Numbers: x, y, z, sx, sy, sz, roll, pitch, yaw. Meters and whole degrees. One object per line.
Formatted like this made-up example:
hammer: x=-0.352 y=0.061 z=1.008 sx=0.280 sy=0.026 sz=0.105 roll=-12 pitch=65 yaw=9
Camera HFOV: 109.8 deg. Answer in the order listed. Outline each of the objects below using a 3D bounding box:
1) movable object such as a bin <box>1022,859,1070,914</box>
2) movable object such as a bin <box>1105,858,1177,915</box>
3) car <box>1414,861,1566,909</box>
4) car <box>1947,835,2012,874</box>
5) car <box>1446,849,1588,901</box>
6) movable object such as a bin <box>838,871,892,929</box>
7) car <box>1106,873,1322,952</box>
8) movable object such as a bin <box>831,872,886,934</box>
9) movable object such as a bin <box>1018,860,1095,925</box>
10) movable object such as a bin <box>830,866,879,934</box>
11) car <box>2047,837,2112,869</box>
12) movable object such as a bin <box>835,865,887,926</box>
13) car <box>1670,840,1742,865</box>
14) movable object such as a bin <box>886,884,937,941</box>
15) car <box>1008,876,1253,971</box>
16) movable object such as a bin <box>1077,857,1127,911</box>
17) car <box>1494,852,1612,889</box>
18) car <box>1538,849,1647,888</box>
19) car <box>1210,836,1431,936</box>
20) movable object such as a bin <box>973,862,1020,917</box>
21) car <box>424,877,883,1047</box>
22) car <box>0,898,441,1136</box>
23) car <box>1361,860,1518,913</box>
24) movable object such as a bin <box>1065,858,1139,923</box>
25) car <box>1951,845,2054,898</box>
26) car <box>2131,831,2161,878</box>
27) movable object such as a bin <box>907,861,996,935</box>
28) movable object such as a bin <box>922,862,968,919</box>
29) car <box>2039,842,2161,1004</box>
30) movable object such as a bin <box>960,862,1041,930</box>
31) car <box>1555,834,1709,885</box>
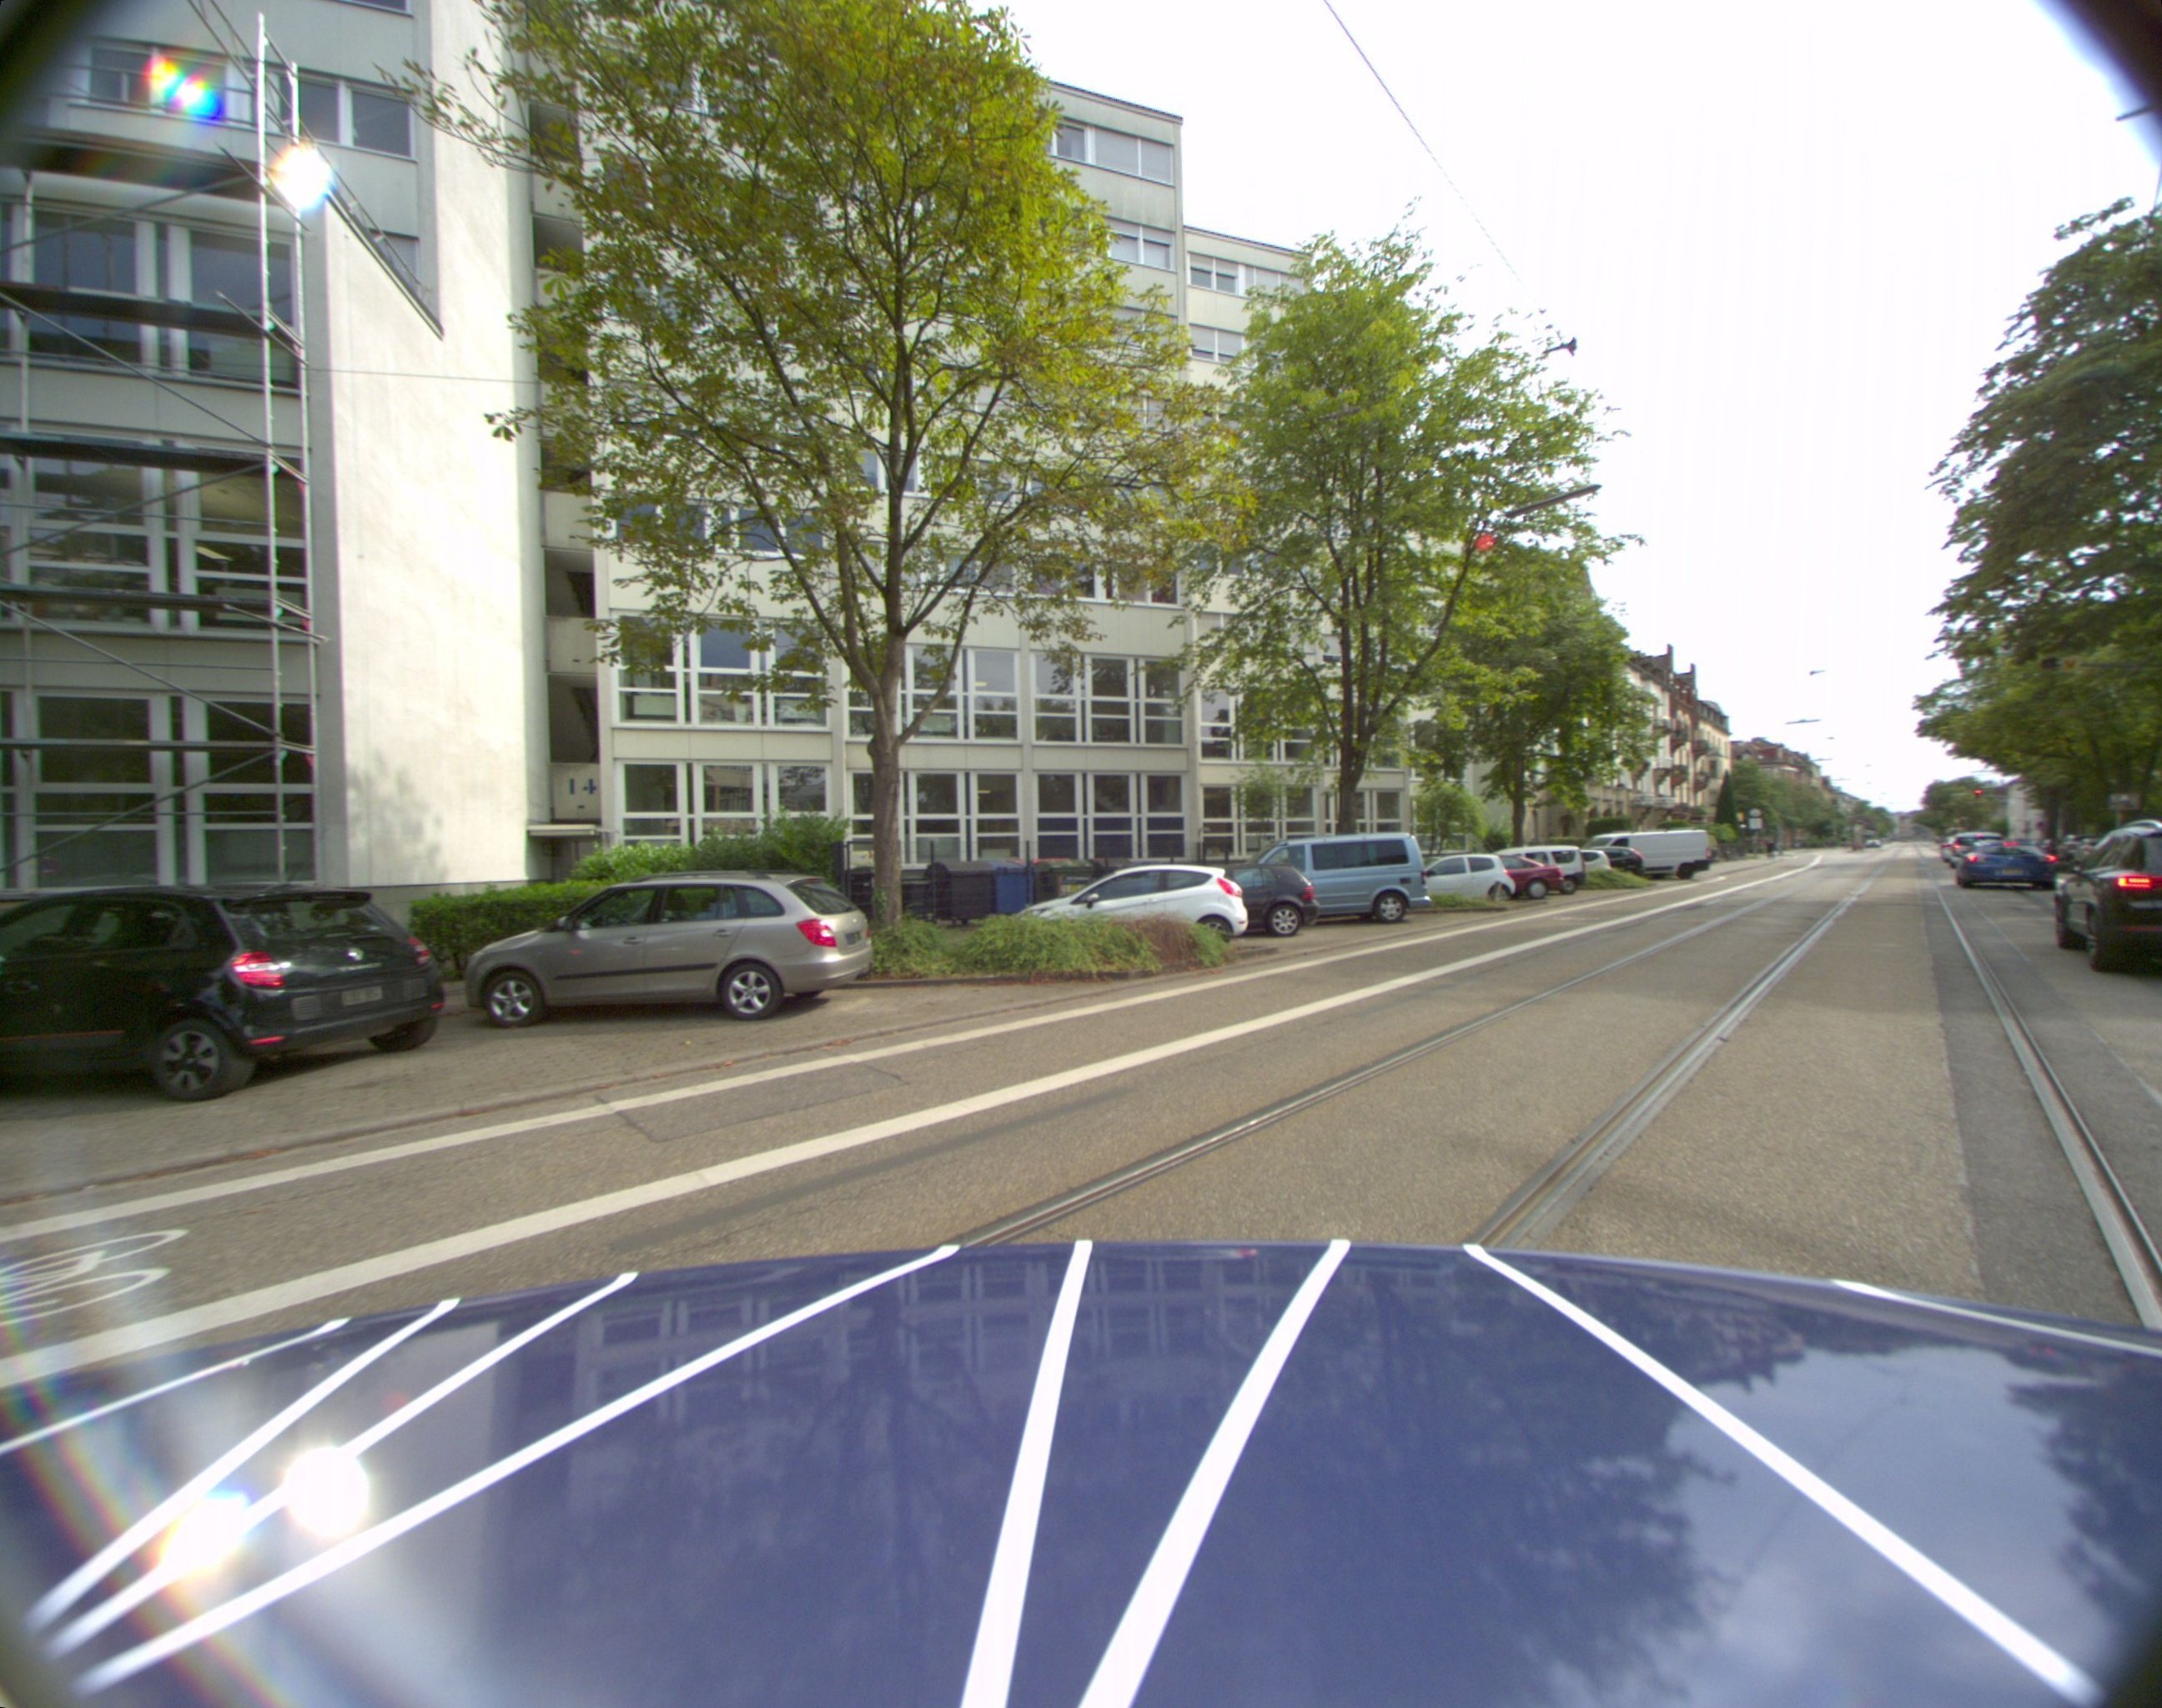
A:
movable object such as a bin: x=-1.059 y=0.948 z=22.629 sx=1.175 sy=1.559 sz=1.178 roll=-1 pitch=0 yaw=-15
movable object such as a bin: x=1.639 y=0.865 z=20.855 sx=1.403 sy=1.450 sz=1.332 roll=-1 pitch=0 yaw=-39
car: x=12.683 y=0.946 z=23.766 sx=3.766 sy=1.331 sz=1.815 roll=-1 pitch=1 yaw=5
car: x=45.057 y=0.017 z=38.170 sx=4.387 sy=1.873 sz=1.733 roll=-1 pitch=0 yaw=-45
car: x=14.736 y=0.700 z=25.844 sx=3.766 sy=1.609 sz=1.815 roll=-1 pitch=1 yaw=5
movable object such as a bin: x=-5.522 y=1.141 z=19.379 sx=1.181 sy=1.362 sz=1.173 roll=-1 pitch=0 yaw=-22
car: x=2.509 y=1.123 z=15.130 sx=3.969 sy=1.378 sz=1.815 roll=-1 pitch=-1 yaw=1
movable object such as a bin: x=-5.300 y=1.132 z=18.038 sx=1.120 sy=1.383 sz=1.061 roll=-1 pitch=0 yaw=-22
movable object such as a bin: x=-0.613 y=0.927 z=18.819 sx=1.356 sy=1.493 sz=1.332 roll=-1 pitch=0 yaw=-39
movable object such as a bin: x=-4.999 y=0.986 z=16.740 sx=0.913 sy=1.398 sz=1.022 roll=-1 pitch=0 yaw=-22
car: x=53.401 y=-0.046 z=40.683 sx=3.914 sy=1.624 sz=1.655 roll=-1 pitch=0 yaw=-44
movable object such as a bin: x=-5.992 y=1.104 z=20.657 sx=1.181 sy=1.559 sz=1.173 roll=-1 pitch=0 yaw=-22
car: x=45.628 y=-0.108 z=55.553 sx=3.637 sy=1.666 sz=1.770 roll=-1 pitch=1 yaw=20
movable object such as a bin: x=-3.510 y=1.197 z=15.727 sx=0.744 sy=1.099 sz=0.784 roll=-1 pitch=0 yaw=-38
car: x=0.797 y=1.129 z=12.863 sx=3.859 sy=1.385 sz=1.634 roll=-1 pitch=0 yaw=0
movable object such as a bin: x=0.623 y=0.893 z=23.045 sx=1.175 sy=1.559 sz=1.178 roll=-1 pitch=0 yaw=-15
car: x=18.970 y=0.641 z=30.640 sx=3.642 sy=1.322 sz=1.768 roll=-1 pitch=1 yaw=1
car: x=22.257 y=0.628 z=33.203 sx=3.637 sy=1.580 sz=1.770 roll=-1 pitch=1 yaw=20
car: x=5.276 y=0.689 z=17.201 sx=4.342 sy=2.052 sz=2.000 roll=-1 pitch=0 yaw=1
movable object such as a bin: x=-2.480 y=1.008 z=22.136 sx=1.175 sy=1.505 sz=1.178 roll=-1 pitch=0 yaw=-15
car: x=-4.407 y=1.087 z=8.251 sx=4.049 sy=1.528 sz=1.596 roll=-2 pitch=0 yaw=1
car: x=-7.456 y=1.185 z=6.049 sx=3.414 sy=1.528 sz=1.596 roll=-1 pitch=0 yaw=3
car: x=10.178 y=0.901 z=21.776 sx=3.642 sy=1.322 sz=1.768 roll=-1 pitch=1 yaw=1
movable object such as a bin: x=0.538 y=0.916 z=19.753 sx=1.356 sy=1.586 sz=1.332 roll=-1 pitch=0 yaw=-39
car: x=28.343 y=0.474 z=23.488 sx=4.387 sy=1.488 sz=1.733 roll=-1 pitch=0 yaw=-43
car: x=39.498 y=-0.024 z=27.227 sx=3.914 sy=1.624 sz=1.655 roll=-1 pitch=0 yaw=-44
movable object such as a bin: x=-2.856 y=0.928 z=16.757 sx=1.418 sy=1.520 sz=1.327 roll=-1 pitch=0 yaw=-39
movable object such as a bin: x=-3.930 y=1.039 z=21.895 sx=1.175 sy=1.559 sz=1.178 roll=-1 pitch=0 yaw=-15
car: x=12.774 y=0.674 z=8.748 sx=4.387 sy=1.619 sz=1.733 roll=-1 pitch=1 yaw=-44
movable object such as a bin: x=-1.899 y=0.947 z=17.851 sx=1.340 sy=1.495 sz=1.332 roll=-1 pitch=0 yaw=-39
car: x=25.405 y=0.251 z=35.199 sx=5.433 sy=2.163 sz=2.149 roll=-1 pitch=1 yaw=5
